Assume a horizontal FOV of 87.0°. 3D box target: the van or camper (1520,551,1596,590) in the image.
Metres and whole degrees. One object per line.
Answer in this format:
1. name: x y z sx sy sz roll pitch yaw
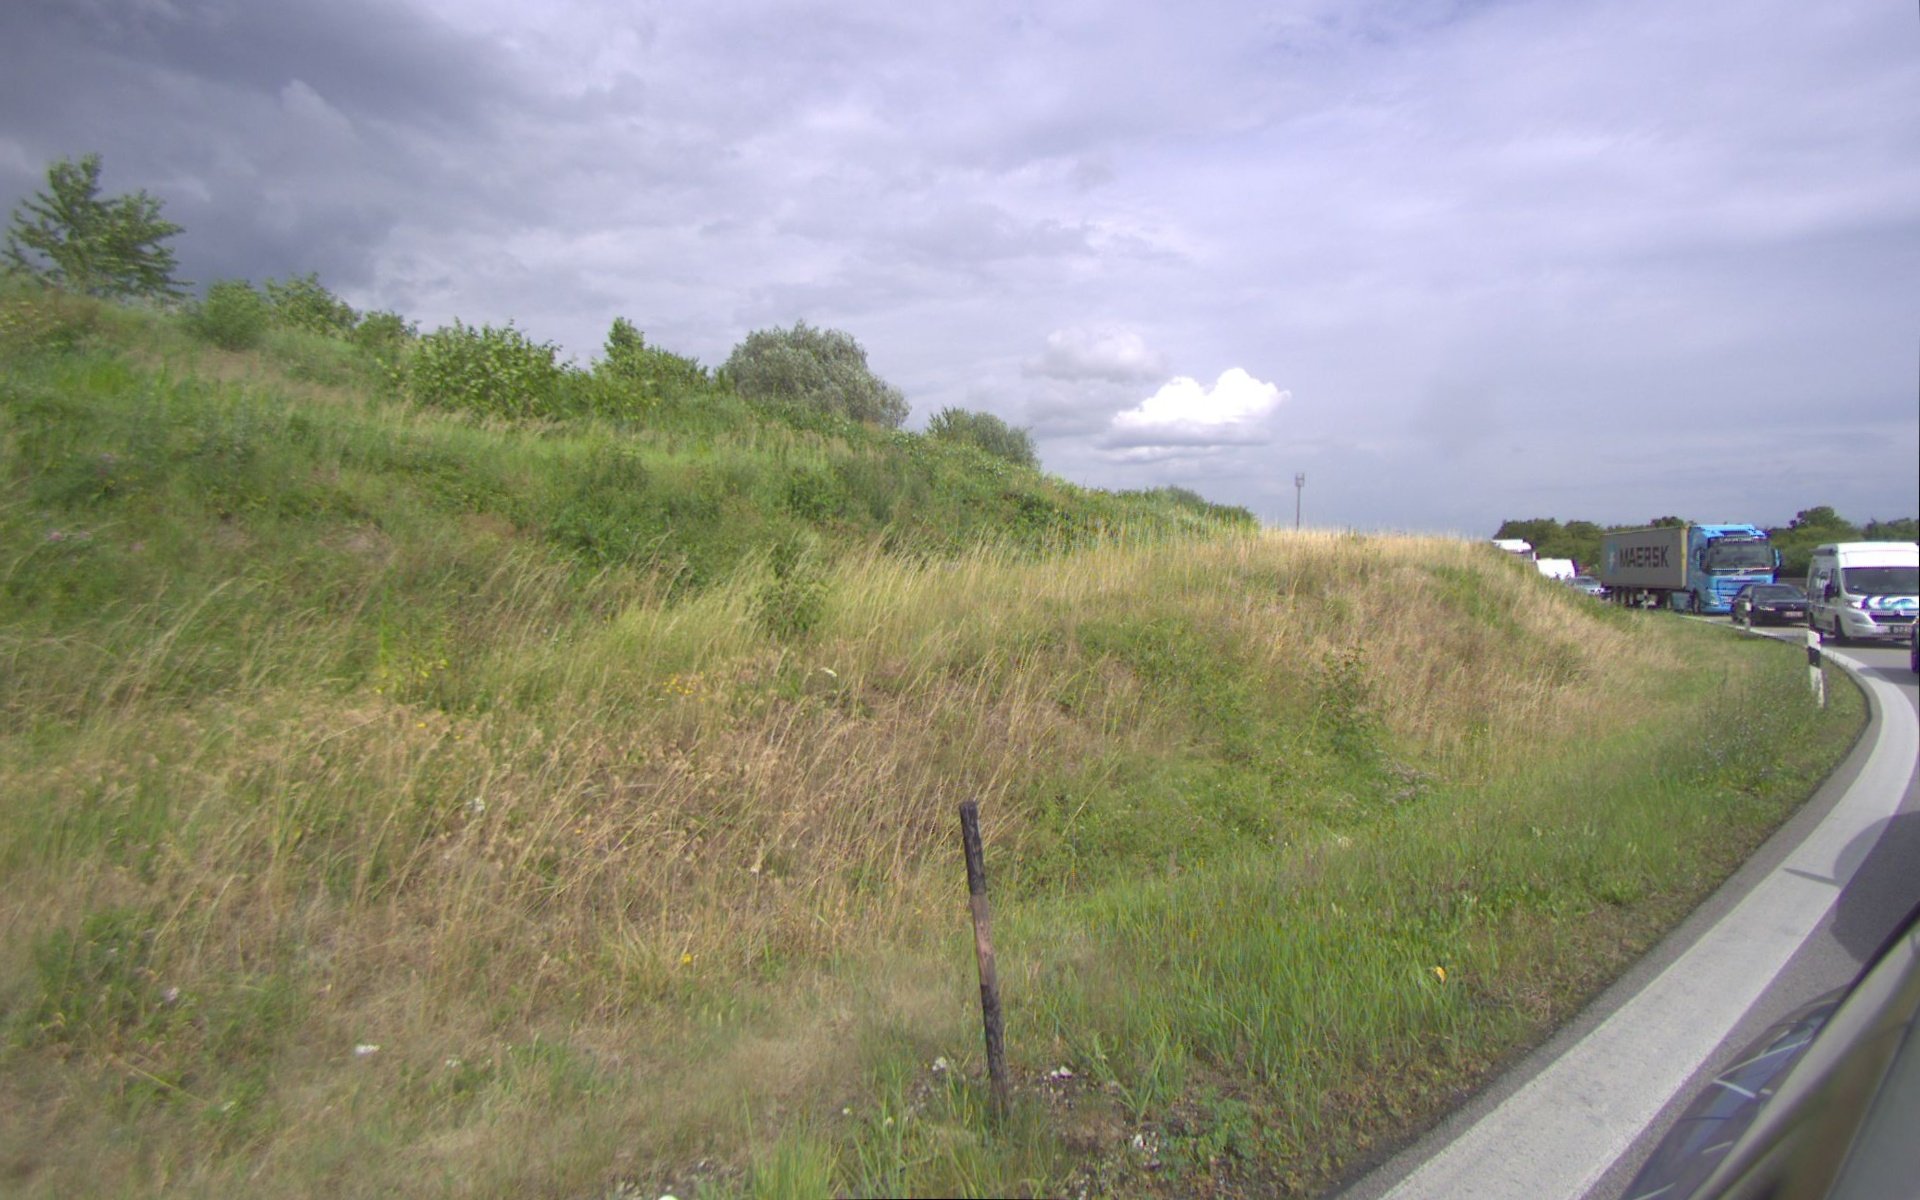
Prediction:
1. van or camper: 40.495 -2.053 68.711 2.512 2.237 5.700 -1 4 10

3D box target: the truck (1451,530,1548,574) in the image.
1. truck: 43.507 -3.780 82.084 3.072 3.279 11.142 0 2 7

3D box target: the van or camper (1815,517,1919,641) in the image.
1. van or camper: 24.346 -0.557 26.665 2.385 2.945 5.646 0 1 36

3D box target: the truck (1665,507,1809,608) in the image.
1. truck: 34.295 -1.783 45.014 3.140 4.124 6.604 -1 1 20

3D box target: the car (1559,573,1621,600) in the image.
1. car: 39.142 -0.850 62.940 1.969 1.548 3.988 0 3 12

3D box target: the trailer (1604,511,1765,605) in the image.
1. trailer: 36.497 -2.005 51.690 3.233 4.213 11.946 -1 1 18

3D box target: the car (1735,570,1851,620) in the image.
1. car: 29.338 -0.235 35.801 1.977 1.638 3.972 1 2 22
